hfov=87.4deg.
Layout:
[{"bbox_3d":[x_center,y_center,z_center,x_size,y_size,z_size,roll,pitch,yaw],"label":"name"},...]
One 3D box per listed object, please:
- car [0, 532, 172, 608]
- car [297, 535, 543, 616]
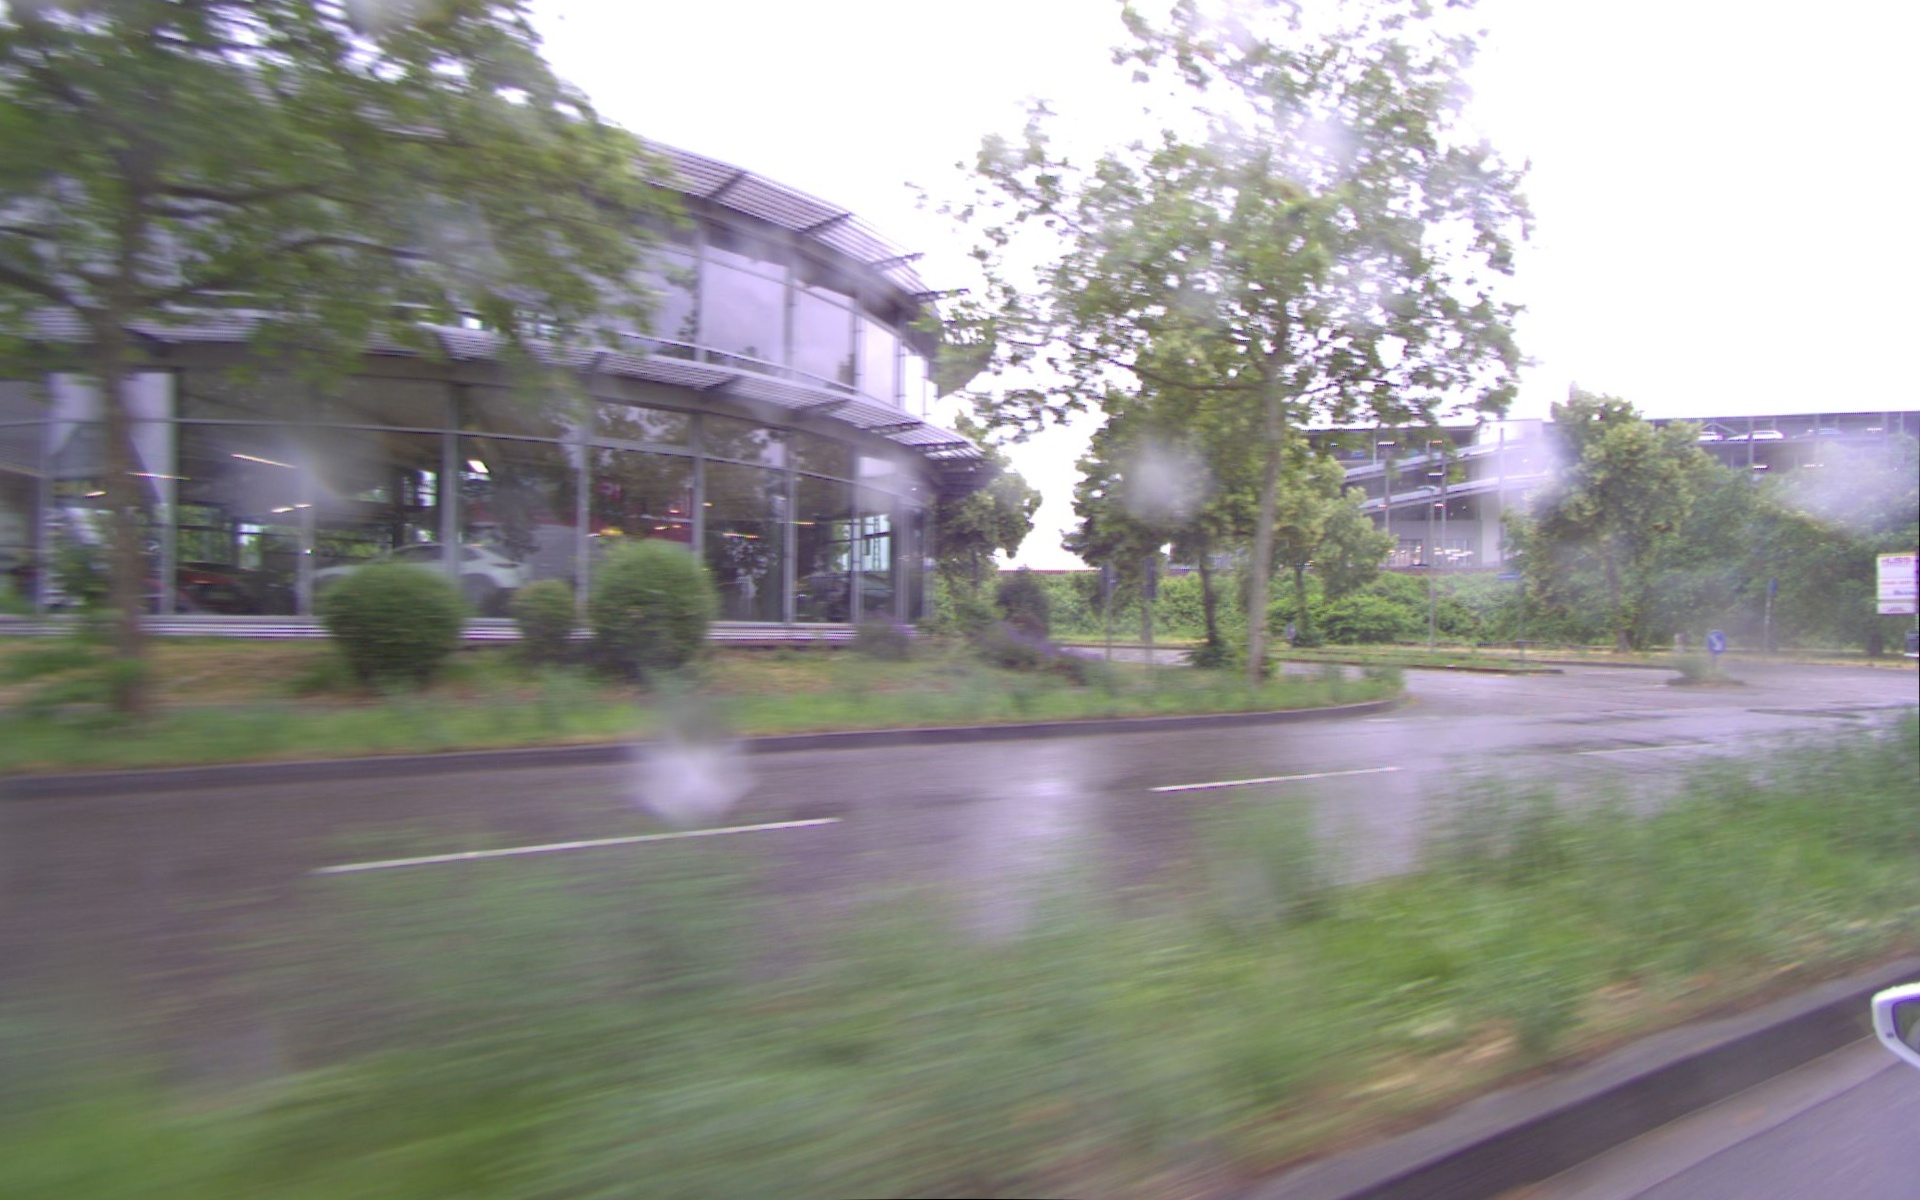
[{"bbox_3d":[-19.174,-0.610,21.921,3.078,1.495,1.595,2,-1,-40],"label":"car"},{"bbox_3d":[-10.964,-0.458,20.661,4.036,1.495,1.783,1,-1,-7],"label":"car"}]
